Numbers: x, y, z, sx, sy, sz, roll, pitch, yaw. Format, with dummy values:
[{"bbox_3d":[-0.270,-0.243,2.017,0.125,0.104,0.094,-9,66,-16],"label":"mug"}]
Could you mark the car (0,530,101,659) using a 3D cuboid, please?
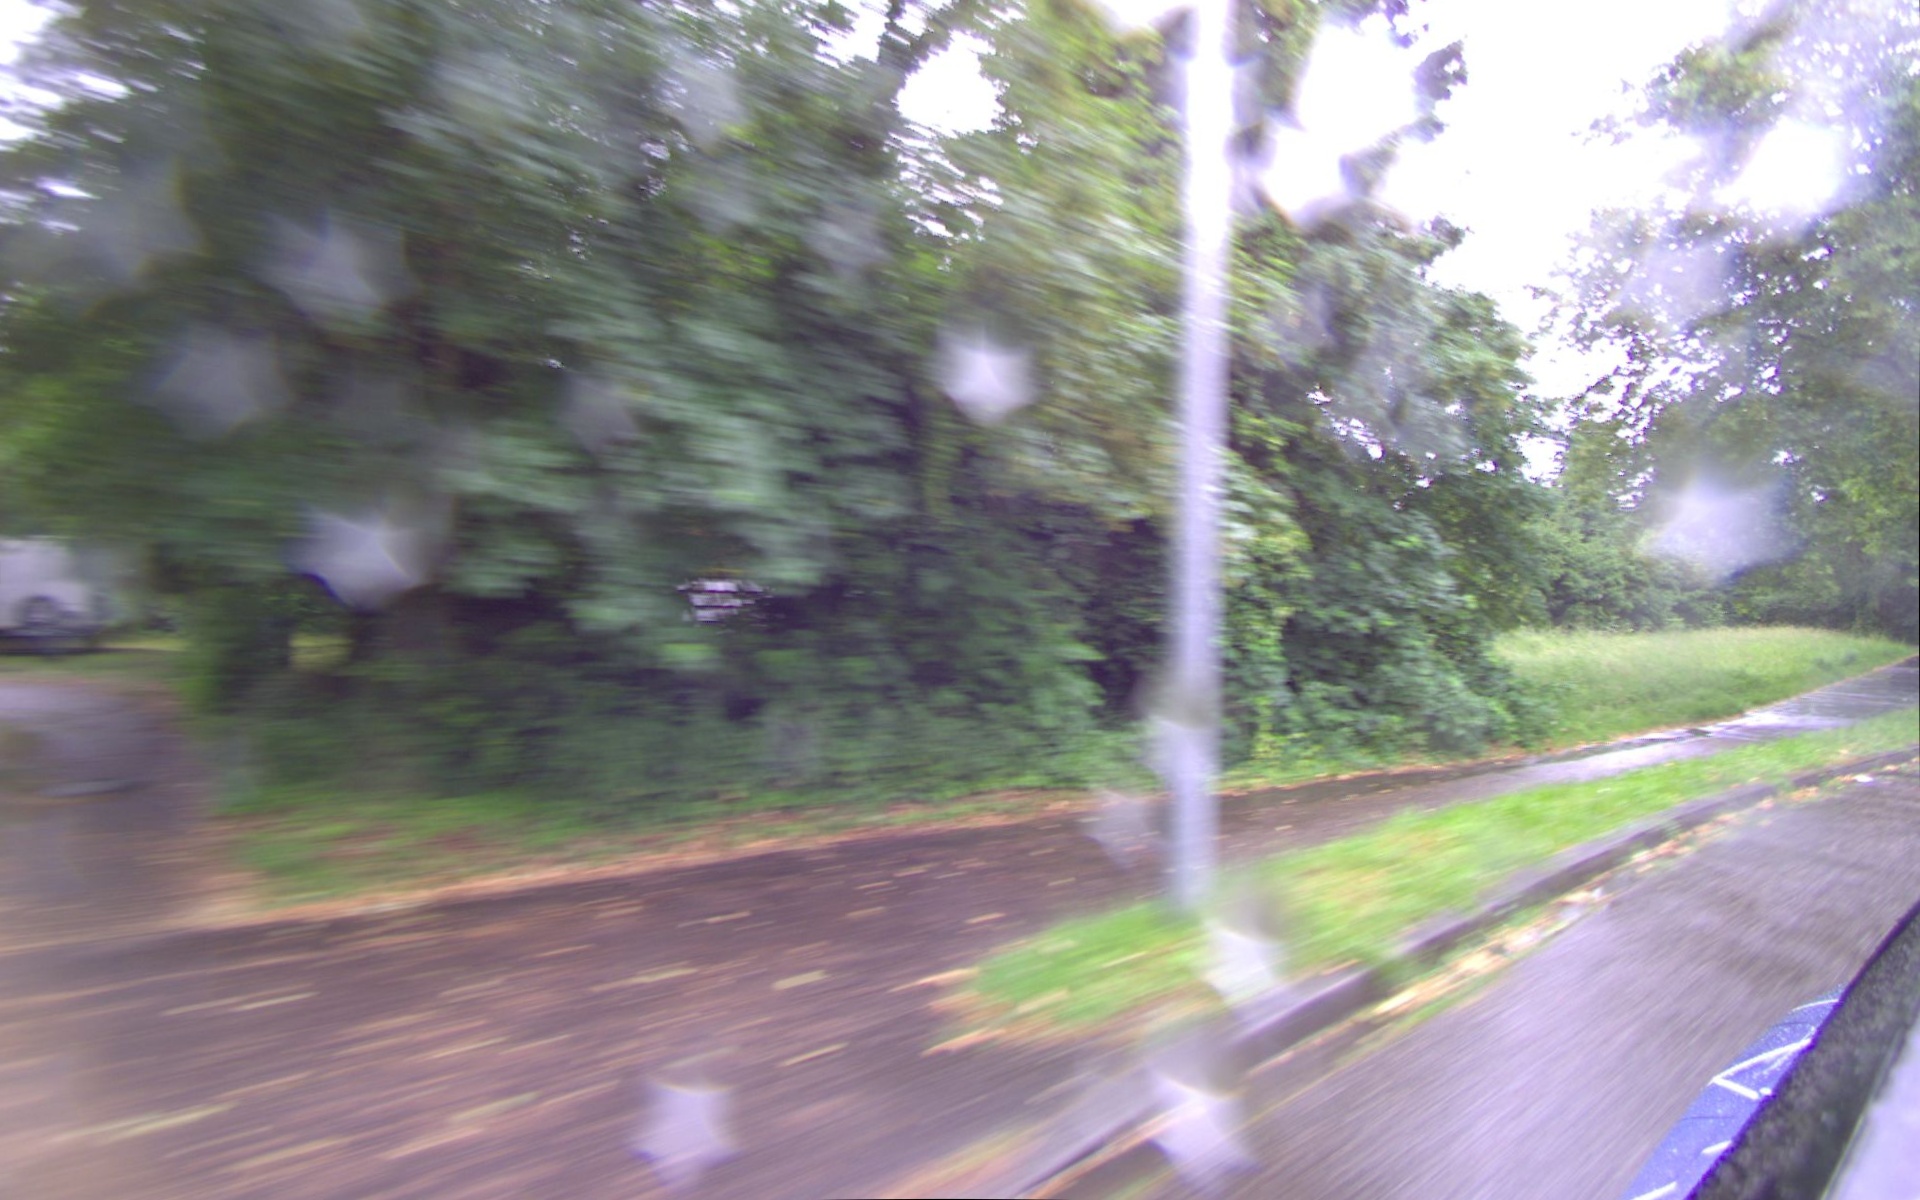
[{"bbox_3d":[-16.655,-0.167,18.173,1.747,2.065,4.693,-1,2,-42],"label":"car"}]
